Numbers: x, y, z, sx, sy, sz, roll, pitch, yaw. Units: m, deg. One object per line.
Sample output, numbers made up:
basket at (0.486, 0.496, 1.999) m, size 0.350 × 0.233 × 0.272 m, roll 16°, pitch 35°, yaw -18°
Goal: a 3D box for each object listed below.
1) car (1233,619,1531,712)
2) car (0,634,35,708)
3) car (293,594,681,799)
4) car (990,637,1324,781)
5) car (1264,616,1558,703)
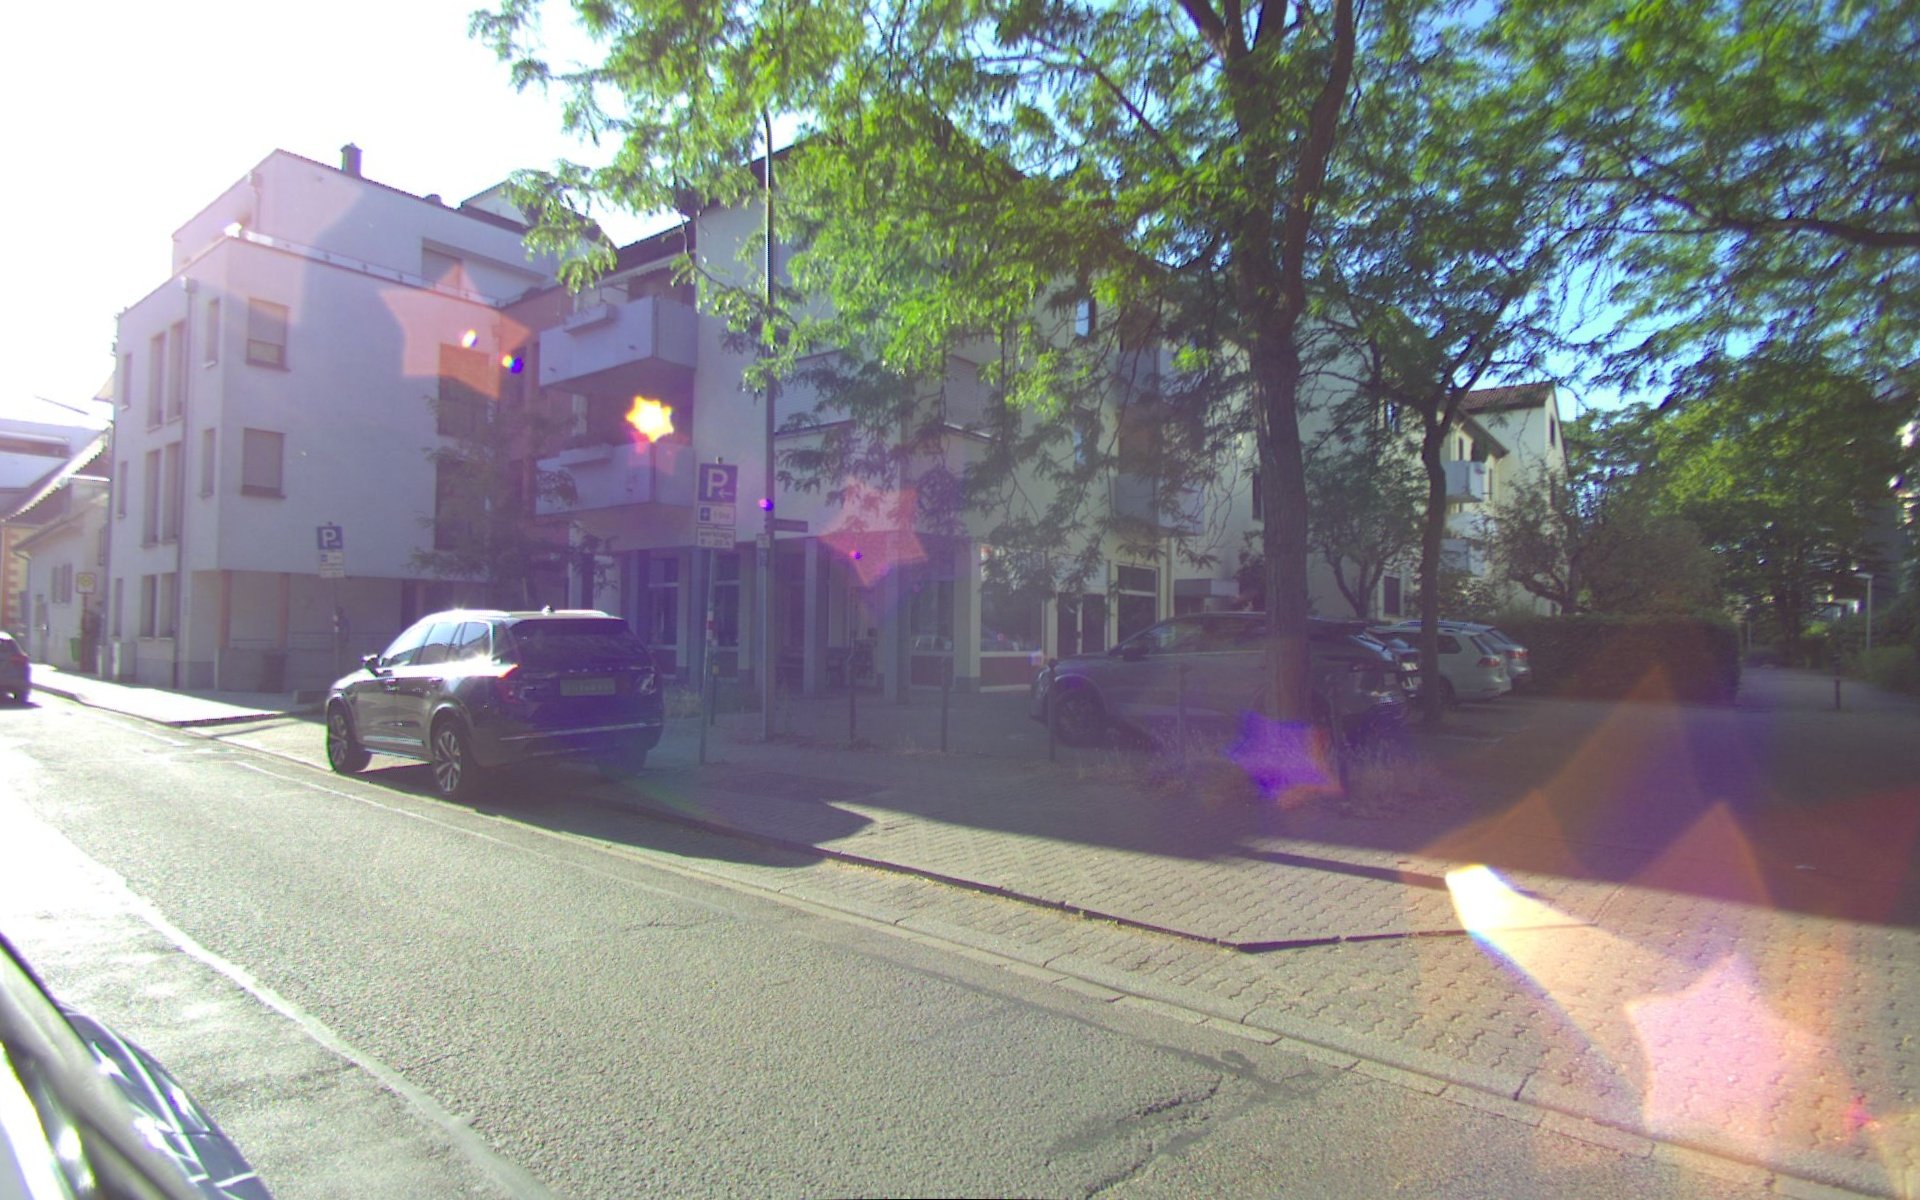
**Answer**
car at (7.823, 1.144, 19.025) m, size 4.826 × 1.487 × 1.974 m, roll -1°, pitch 0°, yaw 39°
car at (-20.920, 1.441, 21.110) m, size 3.995 × 1.478 × 1.789 m, roll -1°, pitch -3°, yaw 39°
car at (-5.318, 0.859, 10.984) m, size 5.098 × 1.718 × 1.911 m, roll -2°, pitch 0°, yaw 41°
car at (2.212, 1.159, 11.936) m, size 3.639 × 1.419 × 1.504 m, roll -2°, pitch -3°, yaw 43°
car at (9.101, 1.155, 20.746) m, size 5.184 × 1.572 × 1.918 m, roll -2°, pitch -2°, yaw 41°
